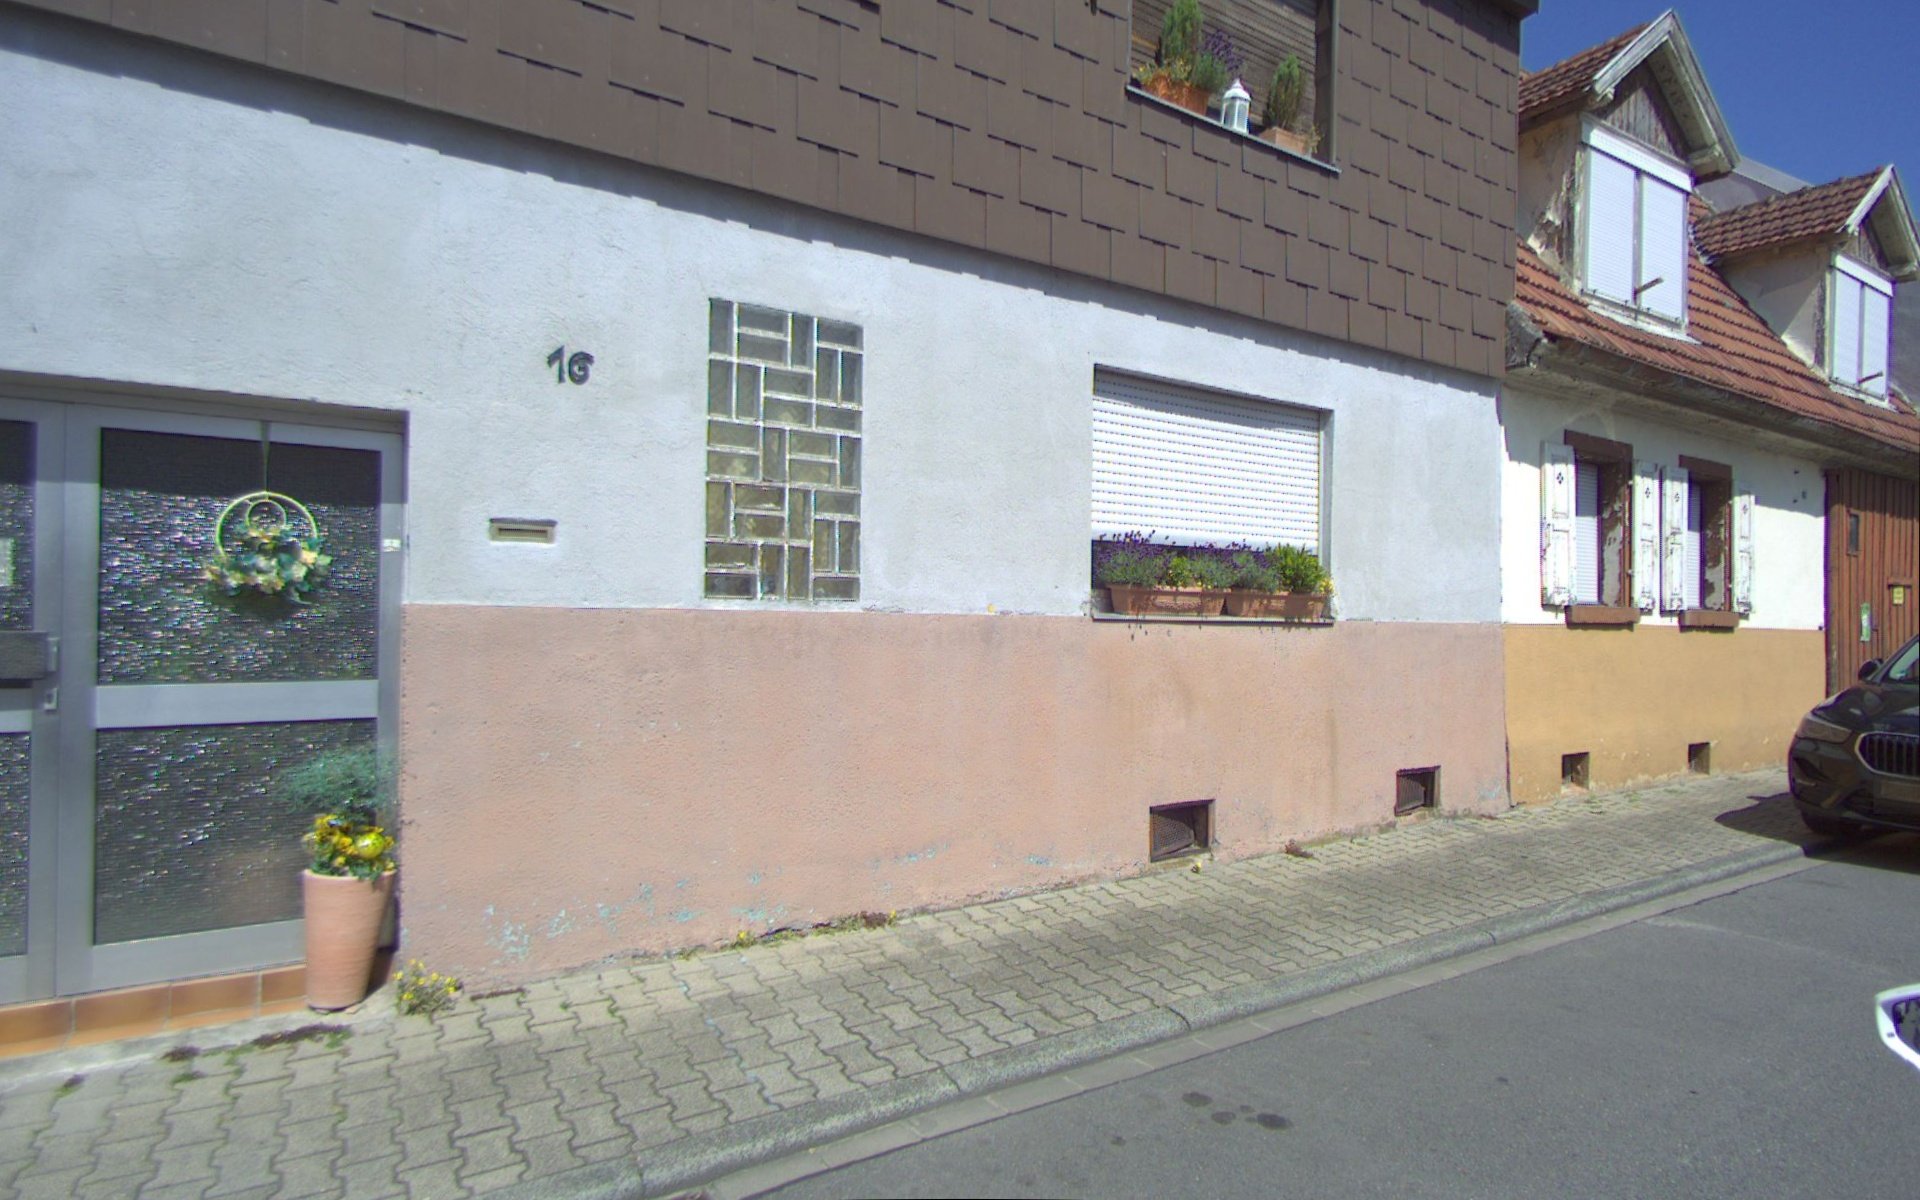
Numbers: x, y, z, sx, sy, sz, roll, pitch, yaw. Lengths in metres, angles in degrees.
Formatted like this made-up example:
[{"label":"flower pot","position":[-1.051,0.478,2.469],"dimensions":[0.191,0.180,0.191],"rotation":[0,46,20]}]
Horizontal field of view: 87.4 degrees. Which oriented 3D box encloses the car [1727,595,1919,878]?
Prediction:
[{"label":"car","position":[7.373,0.829,6.869],"dimensions":[4.560,1.594,1.792],"rotation":[2,-2,-30]}]
